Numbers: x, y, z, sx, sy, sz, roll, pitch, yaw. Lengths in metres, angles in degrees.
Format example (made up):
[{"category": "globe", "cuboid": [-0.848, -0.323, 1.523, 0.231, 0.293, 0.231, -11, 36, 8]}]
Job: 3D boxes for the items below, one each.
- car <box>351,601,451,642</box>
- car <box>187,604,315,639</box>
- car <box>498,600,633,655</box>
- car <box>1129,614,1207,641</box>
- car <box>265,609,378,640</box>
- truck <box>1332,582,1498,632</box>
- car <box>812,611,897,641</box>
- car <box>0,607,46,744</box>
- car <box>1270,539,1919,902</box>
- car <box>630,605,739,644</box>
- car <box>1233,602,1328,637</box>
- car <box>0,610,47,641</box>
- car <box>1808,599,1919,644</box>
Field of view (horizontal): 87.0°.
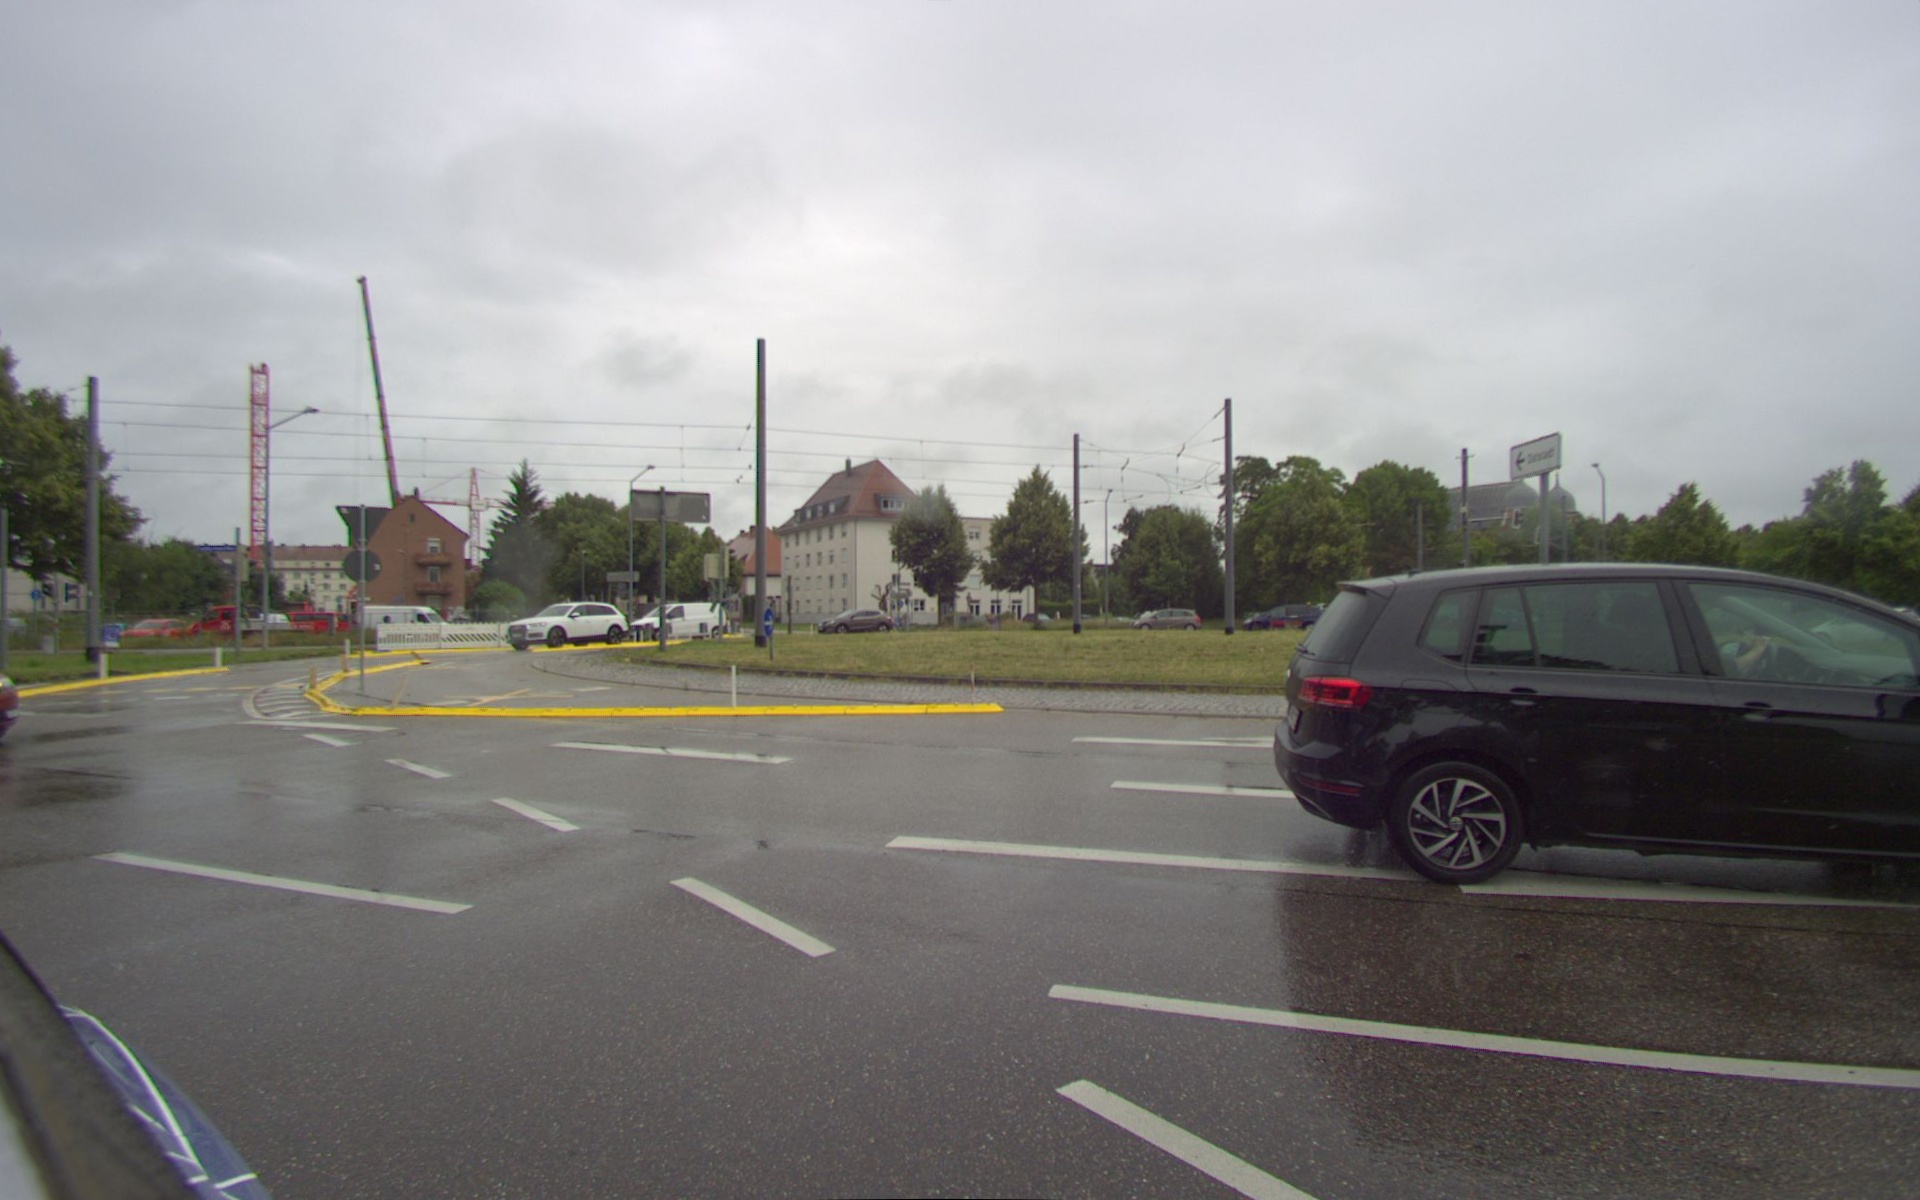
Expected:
[{"category": "car", "cuboid": [-42.072, 1.561, 76.292, 6.342, 2.961, 2.355, 0, 1, 3]}, {"category": "car", "cuboid": [-43.678, 1.280, 62.447, 6.342, 2.028, 2.355, 0, 1, 3]}, {"category": "car", "cuboid": [-14.600, 0.951, 37.807, 1.768, 1.757, 4.824, 1, 2, 25]}, {"category": "car", "cuboid": [12.658, 1.662, 61.741, 4.494, 1.503, 1.608, 0, 1, 7]}, {"category": "car", "cuboid": [-43.549, 1.662, 69.079, 6.342, 2.029, 2.355, -1, -1, 3]}, {"category": "truck", "cuboid": [26.910, 0.313, 60.147, 8.780, 2.731, 1.976, 1, 2, 36]}, {"category": "car", "cuboid": [-5.918, 1.456, 56.922, 4.472, 1.503, 1.616, -1, 2, -33]}, {"category": "car", "cuboid": [-12.626, 0.825, 11.233, 4.279, 1.470, 1.779, 1, 2, 18]}, {"category": "car", "cuboid": [3.899, 0.512, 5.228, 4.292, 1.529, 1.780, -1, 0, 16]}, {"category": "car", "cuboid": [-13.394, 1.155, 49.434, 1.831, 1.655, 4.955, 1, 2, 42]}, {"category": "car", "cuboid": [17.626, 1.029, 55.668, 4.832, 1.757, 1.765, 1, 2, 22]}, {"category": "car", "cuboid": [-79.430, 2.116, 82.762, 6.718, 2.495, 2.365, 0, -1, -22]}, {"category": "car", "cuboid": [41.042, 0.918, 45.249, 1.758, 1.659, 4.409, -1, 4, -19]}]
